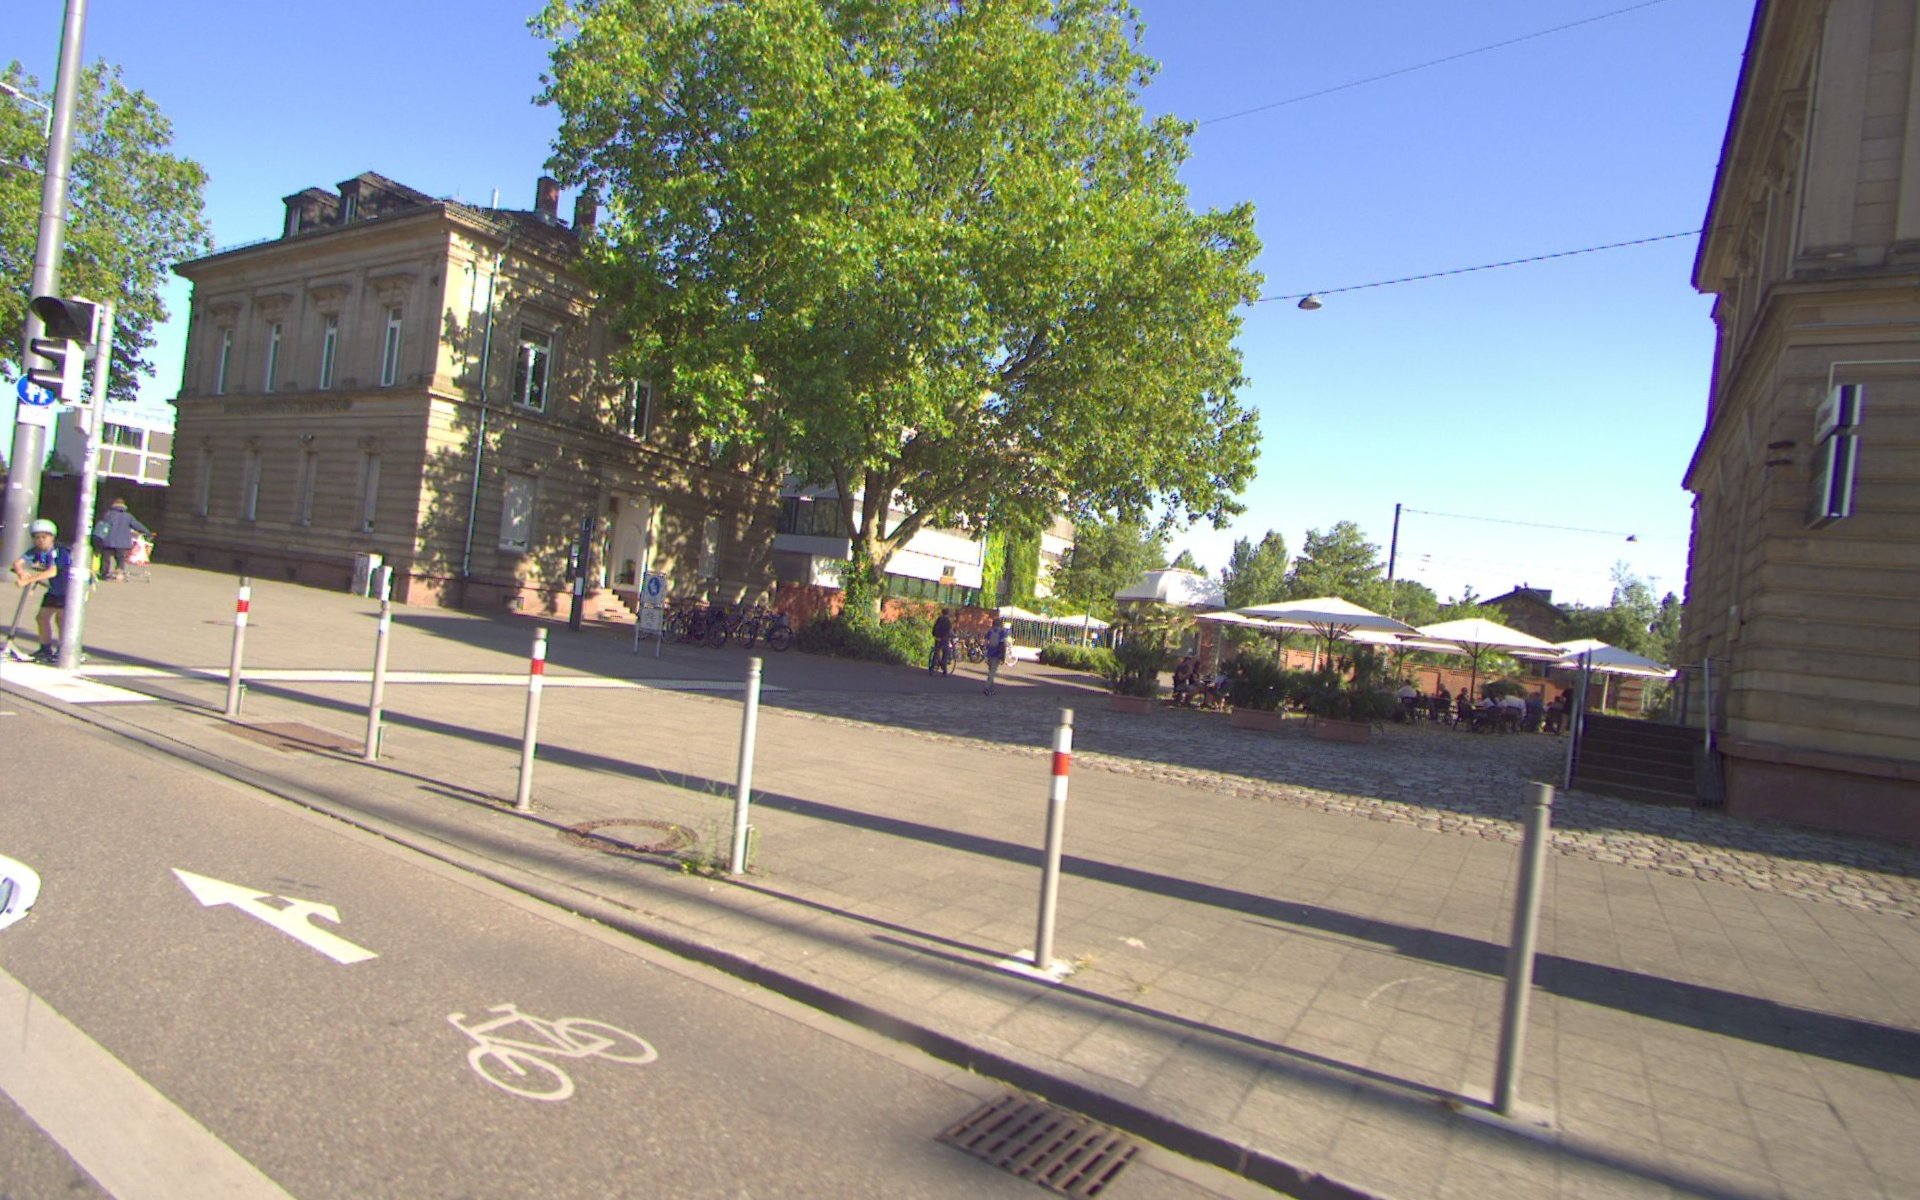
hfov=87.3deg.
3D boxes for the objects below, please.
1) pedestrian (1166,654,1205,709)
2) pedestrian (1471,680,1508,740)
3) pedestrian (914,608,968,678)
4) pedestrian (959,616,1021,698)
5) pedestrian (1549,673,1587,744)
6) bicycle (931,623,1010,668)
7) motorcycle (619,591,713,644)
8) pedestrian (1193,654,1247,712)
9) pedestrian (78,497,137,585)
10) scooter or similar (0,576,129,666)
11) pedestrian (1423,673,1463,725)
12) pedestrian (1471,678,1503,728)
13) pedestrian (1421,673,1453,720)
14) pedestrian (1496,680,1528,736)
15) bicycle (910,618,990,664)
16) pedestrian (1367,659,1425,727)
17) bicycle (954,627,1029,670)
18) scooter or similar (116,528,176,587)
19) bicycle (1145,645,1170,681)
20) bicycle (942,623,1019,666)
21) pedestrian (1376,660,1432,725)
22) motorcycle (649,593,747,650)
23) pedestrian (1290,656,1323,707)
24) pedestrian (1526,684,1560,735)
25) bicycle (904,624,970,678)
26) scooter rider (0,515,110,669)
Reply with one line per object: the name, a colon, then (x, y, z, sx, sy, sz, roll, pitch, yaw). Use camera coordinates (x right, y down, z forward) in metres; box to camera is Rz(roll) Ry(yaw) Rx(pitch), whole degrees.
pedestrian: (6.099, 2.211, 27.170, 0.645, 1.393, 0.671, 6, 0, 42)
pedestrian: (14.266, 2.953, 27.128, 0.652, 1.485, 0.839, 6, 1, 22)
pedestrian: (-0.500, 1.147, 27.326, 1.018, 1.767, 0.998, 6, 1, 21)
pedestrian: (0.722, 1.335, 23.825, 1.018, 1.811, 0.998, 6, 1, 21)
pedestrian: (16.283, 2.891, 26.952, 0.653, 1.767, 0.838, 6, 2, 29)
bicycle: (0.368, 1.627, 35.829, 2.623, 1.293, 0.781, 6, -1, 28)
motorcycle: (-7.465, 0.465, 25.631, 0.874, 1.115, 2.076, 5, -2, 39)
pedestrian: (6.853, 2.186, 26.521, 0.769, 1.397, 0.986, 4, 2, -45)
pedestrian: (-18.129, -1.248, 21.415, 0.763, 1.767, 0.789, 5, 2, -33)
scooter or similar: (-9.019, 0.222, 10.049, 0.260, 0.821, 1.022, 6, -1, 32)
pedestrian: (14.860, 3.051, 30.976, 0.828, 1.485, 0.661, 7, 2, 42)
pedestrian: (17.164, 3.337, 32.773, 0.652, 1.485, 0.839, 6, 1, 19)
pedestrian: (16.263, 3.290, 34.301, 0.825, 1.485, 0.663, 6, 2, 29)
pedestrian: (15.778, 3.072, 28.737, 0.653, 1.485, 0.837, 6, 1, 30)
bicycle: (-0.357, 1.414, 34.824, 2.623, 1.293, 0.781, 6, -1, 28)
pedestrian: (12.595, 2.681, 29.092, 1.018, 1.767, 0.998, 5, 1, -5)
bicycle: (1.189, 1.799, 37.745, 2.623, 1.293, 0.781, 6, -1, 28)
scooter or similar: (-17.868, -0.927, 22.080, 0.746, 1.171, 0.719, 6, 1, 26)
bicycle: (7.838, 2.478, 39.800, 0.767, 1.293, 2.672, 6, -2, 13)
bicycle: (0.741, 1.630, 36.982, 2.623, 1.293, 0.781, 6, -1, 28)
pedestrian: (13.299, 2.751, 30.172, 1.018, 1.767, 0.998, 5, 1, -5)
motorcycle: (-6.572, 0.553, 25.346, 0.874, 1.173, 2.219, 5, -2, 39)
pedestrian: (10.683, 2.498, 31.008, 0.653, 1.485, 0.837, 6, 1, 30)
pedestrian: (18.367, 3.439, 31.715, 0.652, 1.485, 0.839, 6, 1, 22)
bicycle: (-0.577, 1.416, 27.322, 0.767, 1.293, 2.671, 6, -2, 20)
scooter rider: (-8.980, -0.072, 9.897, 0.590, 1.414, 0.702, 6, 0, 33)
